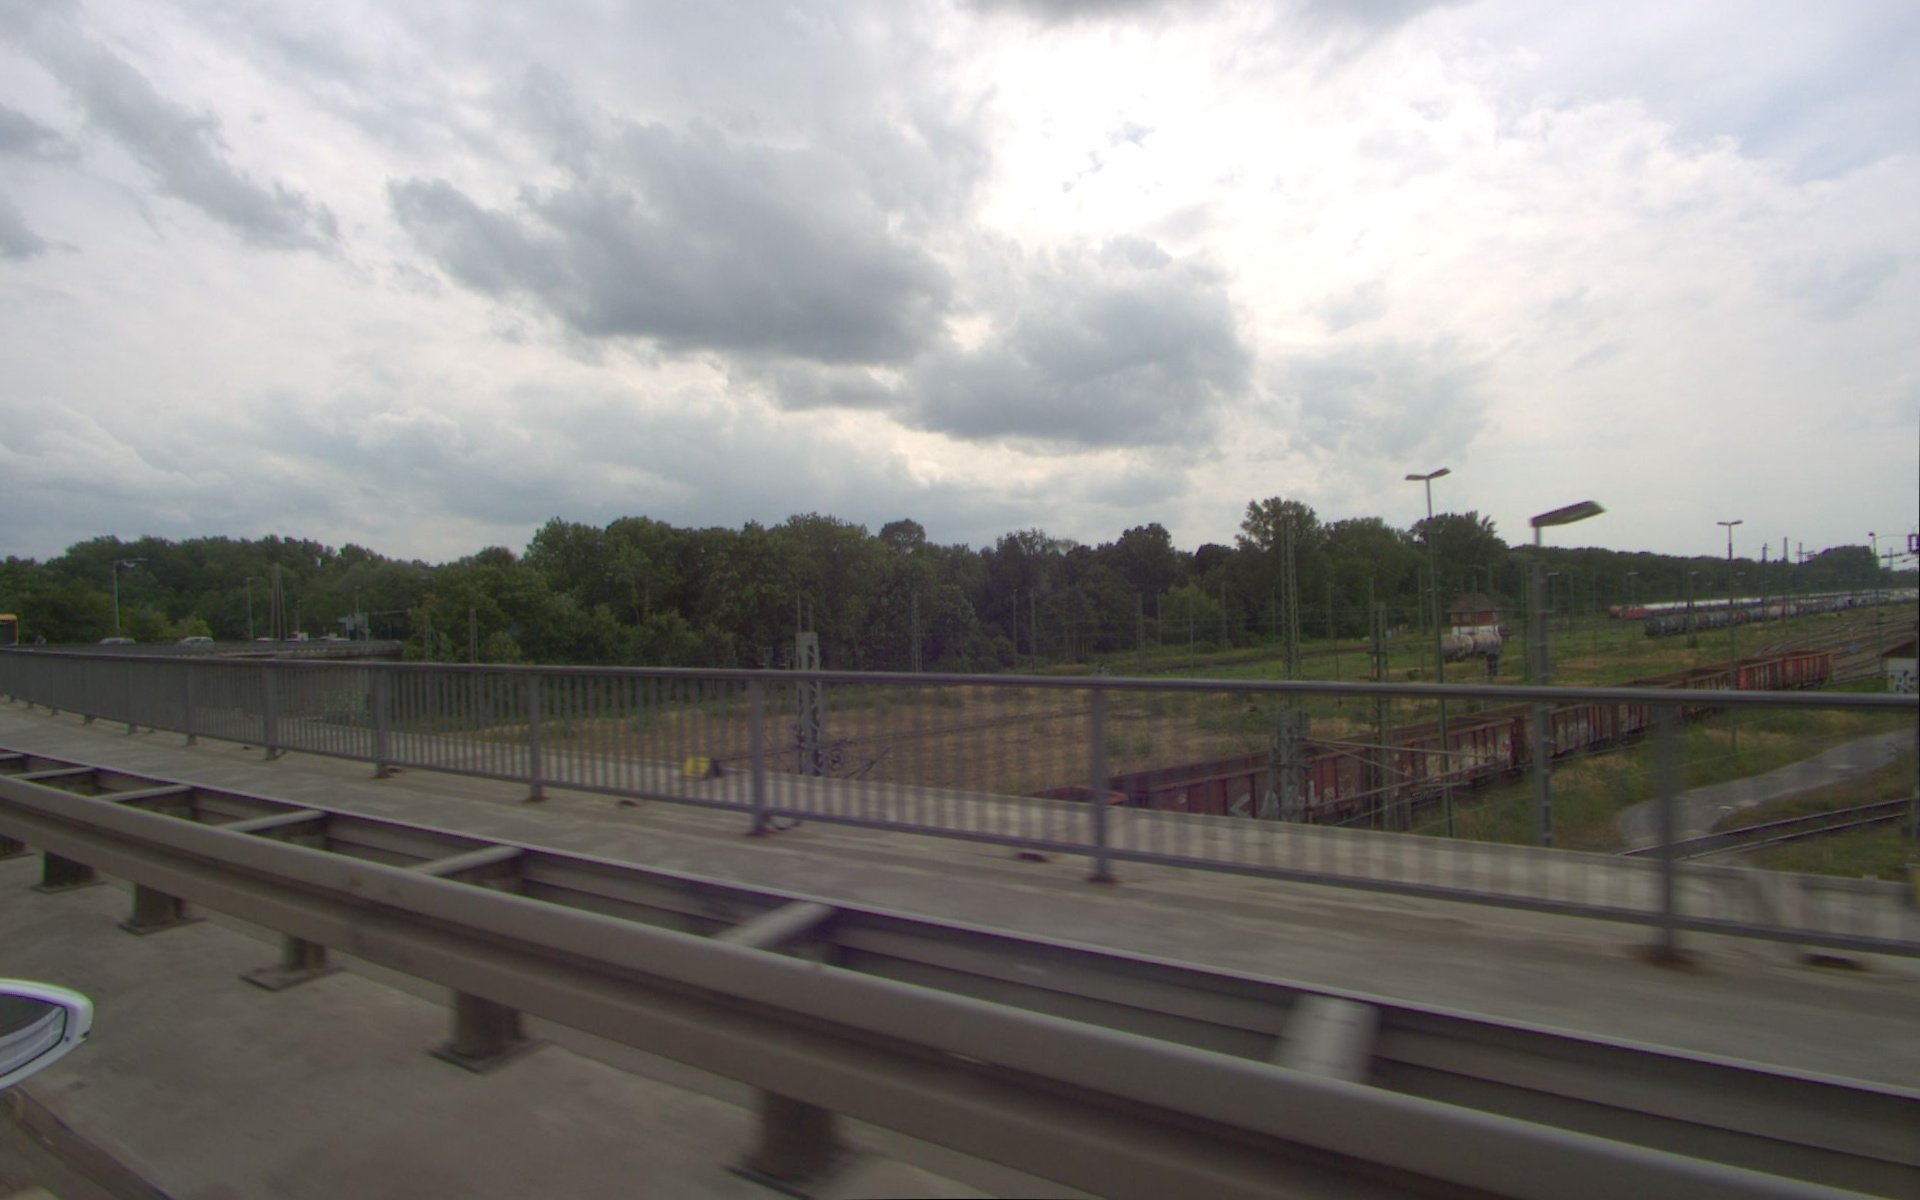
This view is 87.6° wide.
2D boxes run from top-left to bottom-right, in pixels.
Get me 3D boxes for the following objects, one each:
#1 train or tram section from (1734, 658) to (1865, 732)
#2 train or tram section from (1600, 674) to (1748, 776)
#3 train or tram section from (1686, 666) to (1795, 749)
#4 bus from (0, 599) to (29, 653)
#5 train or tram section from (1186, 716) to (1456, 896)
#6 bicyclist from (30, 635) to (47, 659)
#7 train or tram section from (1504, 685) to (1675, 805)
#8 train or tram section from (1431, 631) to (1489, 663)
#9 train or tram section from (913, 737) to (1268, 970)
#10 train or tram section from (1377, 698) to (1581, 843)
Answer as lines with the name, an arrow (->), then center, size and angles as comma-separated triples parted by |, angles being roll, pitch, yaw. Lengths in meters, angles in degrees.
train or tram section -> 79.664, 8.653, 94.544 | 25.386, 5.549, 3.964 | 1, -2, -38
train or tram section -> 50.887, 8.458, 70.911 | 18.071, 5.714, 3.929 | 1, -2, -40
train or tram section -> 63.793, 8.459, 81.632 | 15.391, 5.695, 3.774 | 1, -2, -40
bus -> -59.156, 1.524, 58.910 | 2.996, 3.274, 12.901 | 0, -2, -27
train or tram section -> 15.905, 8.340, 43.077 | 14.082, 5.670, 3.634 | 0, -2, -36
bicyclist -> -73.062, 3.725, 79.427 | 0.839, 1.831, 0.793 | 0, -2, -30
train or tram section -> 38.258, 8.363, 60.454 | 14.840, 5.748, 3.948 | 1, -2, -38
train or tram section -> 70.412, 6.512, 140.985 | 11.264, 4.221, 3.226 | 1, -2, -41
train or tram section -> 4.995, 8.233, 35.099 | 13.481, 5.645, 3.628 | 0, -2, -36
train or tram section -> 27.007, 8.374, 51.562 | 13.744, 5.749, 3.816 | 1, -2, -38
